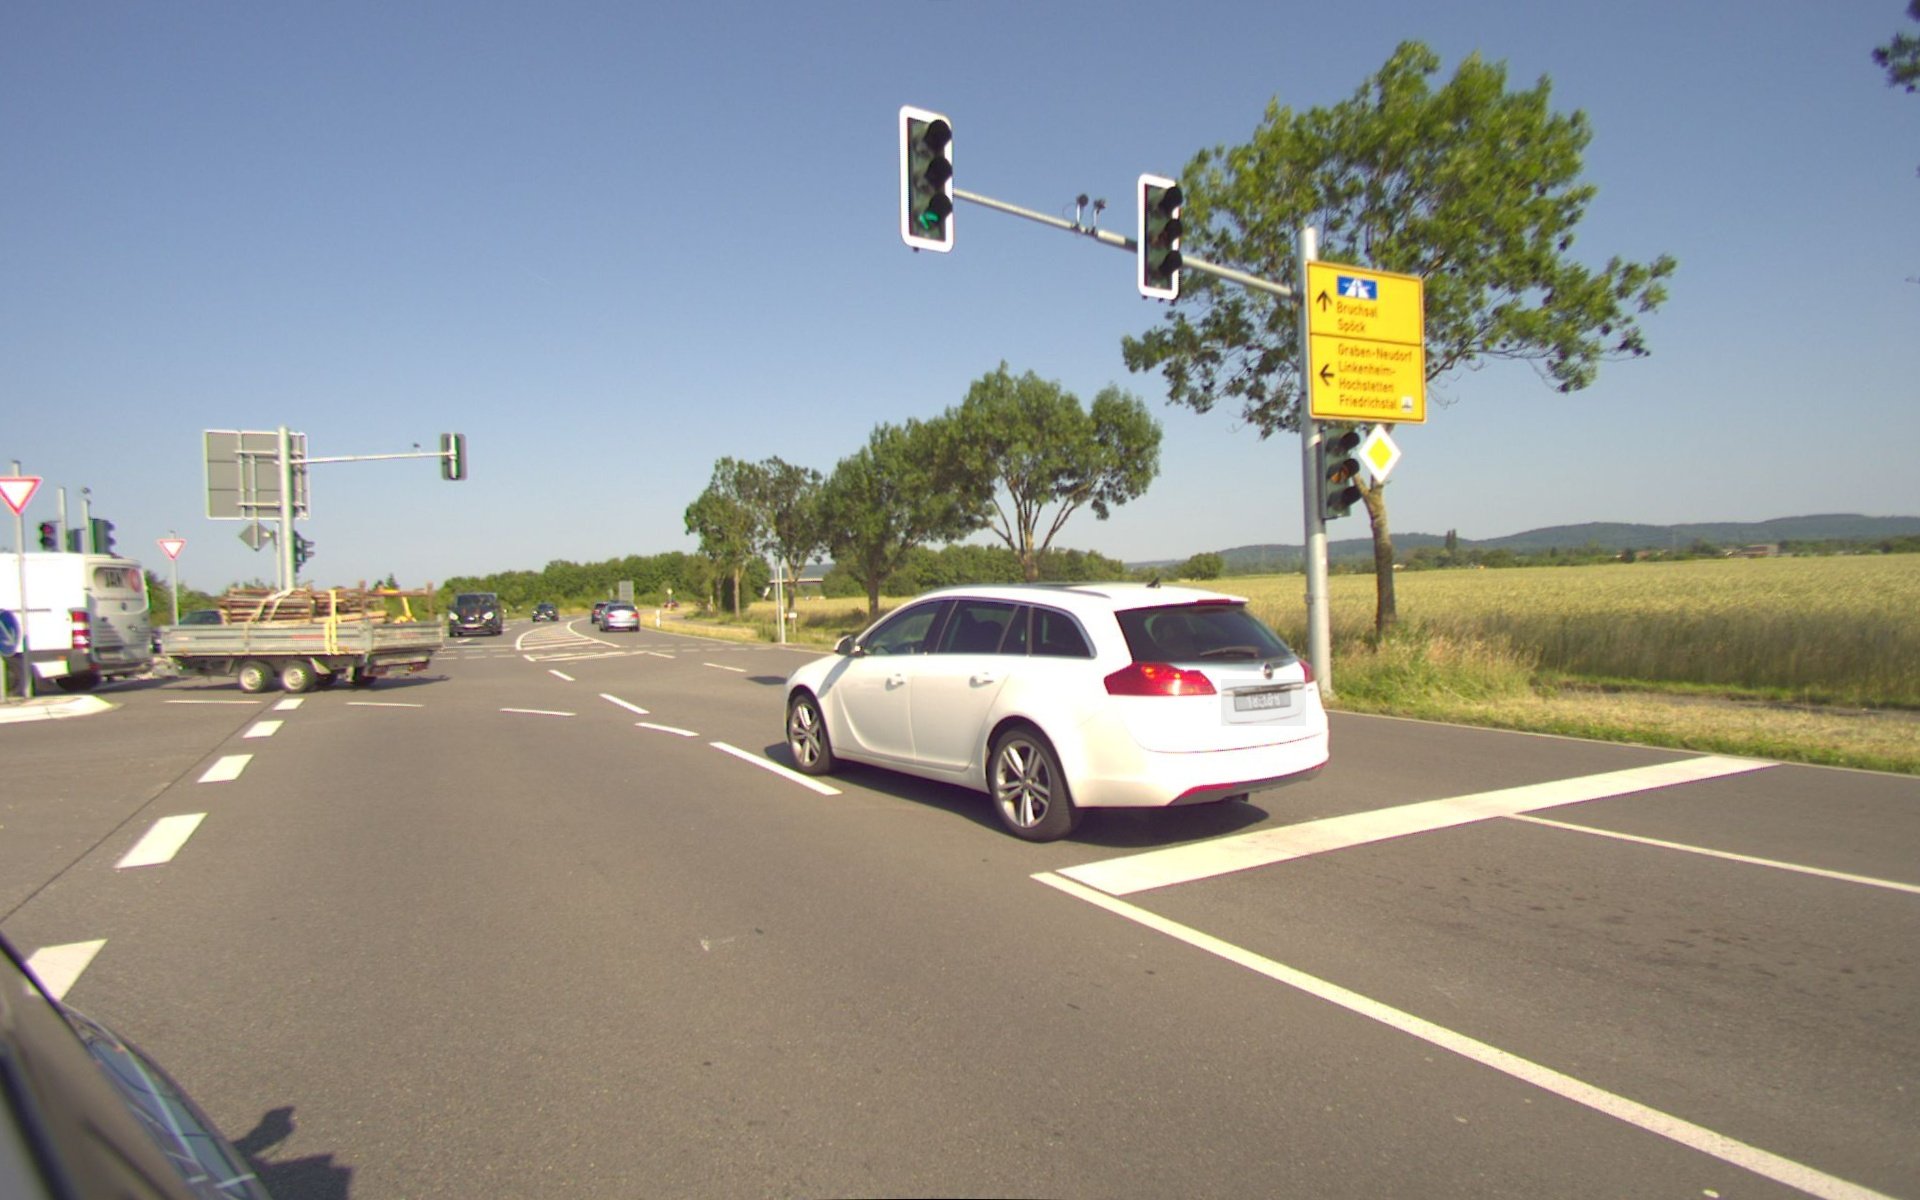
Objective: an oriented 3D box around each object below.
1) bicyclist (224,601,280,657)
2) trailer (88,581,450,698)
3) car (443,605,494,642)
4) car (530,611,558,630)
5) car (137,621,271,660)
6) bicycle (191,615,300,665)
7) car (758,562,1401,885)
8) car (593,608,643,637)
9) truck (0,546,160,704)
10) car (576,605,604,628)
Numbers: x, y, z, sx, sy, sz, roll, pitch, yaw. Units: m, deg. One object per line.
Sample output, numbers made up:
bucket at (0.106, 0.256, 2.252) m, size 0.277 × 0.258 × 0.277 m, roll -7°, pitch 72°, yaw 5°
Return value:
bicyclist at (-17.984, 0.727, 25.738) m, size 1.055 × 1.362 × 0.861 m, roll -1°, pitch 0°, yaw -28°
trailer at (-11.304, 0.633, 16.703) m, size 4.955 × 1.751 × 1.975 m, roll -1°, pitch 0°, yaw 9°
car at (-22.569, 1.043, 46.619) m, size 1.830 × 1.554 × 4.013 m, roll -2°, pitch 0°, yaw -22°
car at (-35.262, 1.715, 85.827) m, size 1.831 × 1.554 × 4.012 m, roll -2°, pitch 0°, yaw -18°
car at (-24.626, 1.273, 33.151) m, size 1.713 × 1.121 × 4.005 m, roll -1°, pitch 0°, yaw -6°
bicycle at (-18.064, 0.982, 25.658) m, size 2.114 × 1.158 × 1.077 m, roll -1°, pitch 1°, yaw -28°
car at (0.400, 0.586, 7.133) m, size 1.736 × 1.503 × 4.719 m, roll -1°, pitch 0°, yaw -36°
car at (-17.512, 1.122, 51.729) m, size 1.606 × 1.387 × 4.436 m, roll 0°, pitch -1°, yaw -29°
truck at (-16.990, 0.450, 16.332) m, size 6.097 × 2.423 × 2.076 m, roll -2°, pitch 0°, yaw -11°
car at (-26.840, 1.204, 73.410) m, size 1.858 × 1.638 × 4.013 m, roll 0°, pitch -1°, yaw -21°
